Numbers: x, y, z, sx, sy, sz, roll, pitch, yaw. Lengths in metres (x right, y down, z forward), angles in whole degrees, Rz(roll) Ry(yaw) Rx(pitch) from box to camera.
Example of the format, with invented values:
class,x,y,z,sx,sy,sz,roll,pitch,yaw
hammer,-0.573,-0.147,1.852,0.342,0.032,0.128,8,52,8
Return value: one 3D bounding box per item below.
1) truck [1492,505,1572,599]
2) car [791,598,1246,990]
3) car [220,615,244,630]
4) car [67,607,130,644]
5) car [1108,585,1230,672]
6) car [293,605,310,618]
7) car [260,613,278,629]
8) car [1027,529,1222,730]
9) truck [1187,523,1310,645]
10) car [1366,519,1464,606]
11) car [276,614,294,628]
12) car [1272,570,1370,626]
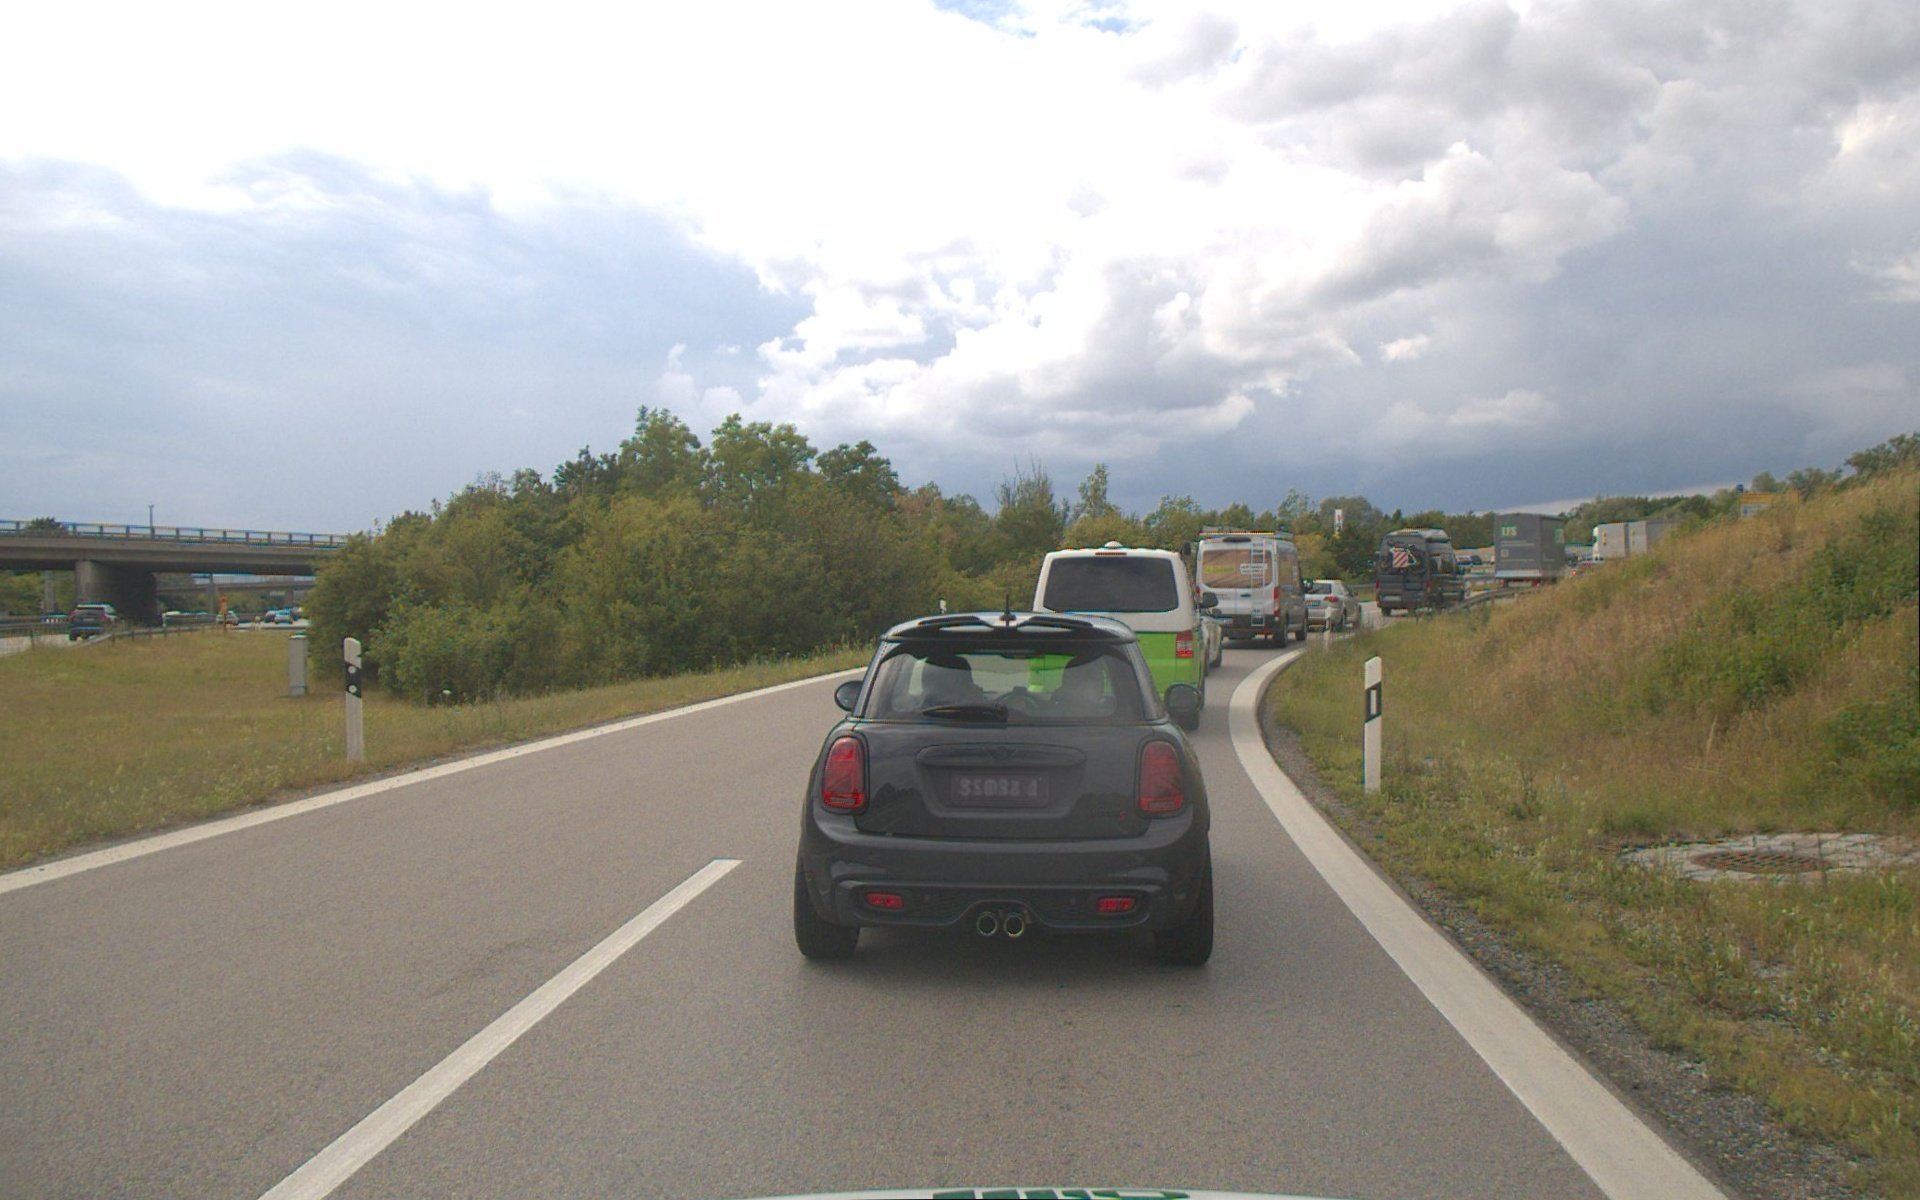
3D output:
class,x,y,z,sx,sy,sz,roll,pitch,yaw
truck,26.306,-2.120,75.889,2.188,3.975,6.000,0,-2,32
car,0.323,0.739,8.063,1.691,1.438,3.726,1,-1,3
car,-72.987,2.278,165.832,1.809,1.478,4.353,0,0,-20
car,-43.169,1.250,82.979,1.962,1.792,4.900,0,0,-17
car,3.730,0.480,29.045,1.724,1.423,3.728,0,0,13
car,-94.575,1.703,237.555,1.963,1.774,4.803,-1,0,-18
car,-86.935,2.641,208.225,1.966,2.049,3.973,2,-1,-22
car,1.996,0.316,19.031,1.746,2.049,4.003,1,-1,12
truck,6.923,-0.373,39.277,2.133,2.705,5.111,0,0,19
car,15.727,-1.268,57.045,2.069,2.845,3.986,1,0,35
car,-75.111,2.350,184.135,1.692,1.545,3.976,0,0,-20
car,10.397,-0.027,47.451,1.830,1.536,3.995,0,-1,27
